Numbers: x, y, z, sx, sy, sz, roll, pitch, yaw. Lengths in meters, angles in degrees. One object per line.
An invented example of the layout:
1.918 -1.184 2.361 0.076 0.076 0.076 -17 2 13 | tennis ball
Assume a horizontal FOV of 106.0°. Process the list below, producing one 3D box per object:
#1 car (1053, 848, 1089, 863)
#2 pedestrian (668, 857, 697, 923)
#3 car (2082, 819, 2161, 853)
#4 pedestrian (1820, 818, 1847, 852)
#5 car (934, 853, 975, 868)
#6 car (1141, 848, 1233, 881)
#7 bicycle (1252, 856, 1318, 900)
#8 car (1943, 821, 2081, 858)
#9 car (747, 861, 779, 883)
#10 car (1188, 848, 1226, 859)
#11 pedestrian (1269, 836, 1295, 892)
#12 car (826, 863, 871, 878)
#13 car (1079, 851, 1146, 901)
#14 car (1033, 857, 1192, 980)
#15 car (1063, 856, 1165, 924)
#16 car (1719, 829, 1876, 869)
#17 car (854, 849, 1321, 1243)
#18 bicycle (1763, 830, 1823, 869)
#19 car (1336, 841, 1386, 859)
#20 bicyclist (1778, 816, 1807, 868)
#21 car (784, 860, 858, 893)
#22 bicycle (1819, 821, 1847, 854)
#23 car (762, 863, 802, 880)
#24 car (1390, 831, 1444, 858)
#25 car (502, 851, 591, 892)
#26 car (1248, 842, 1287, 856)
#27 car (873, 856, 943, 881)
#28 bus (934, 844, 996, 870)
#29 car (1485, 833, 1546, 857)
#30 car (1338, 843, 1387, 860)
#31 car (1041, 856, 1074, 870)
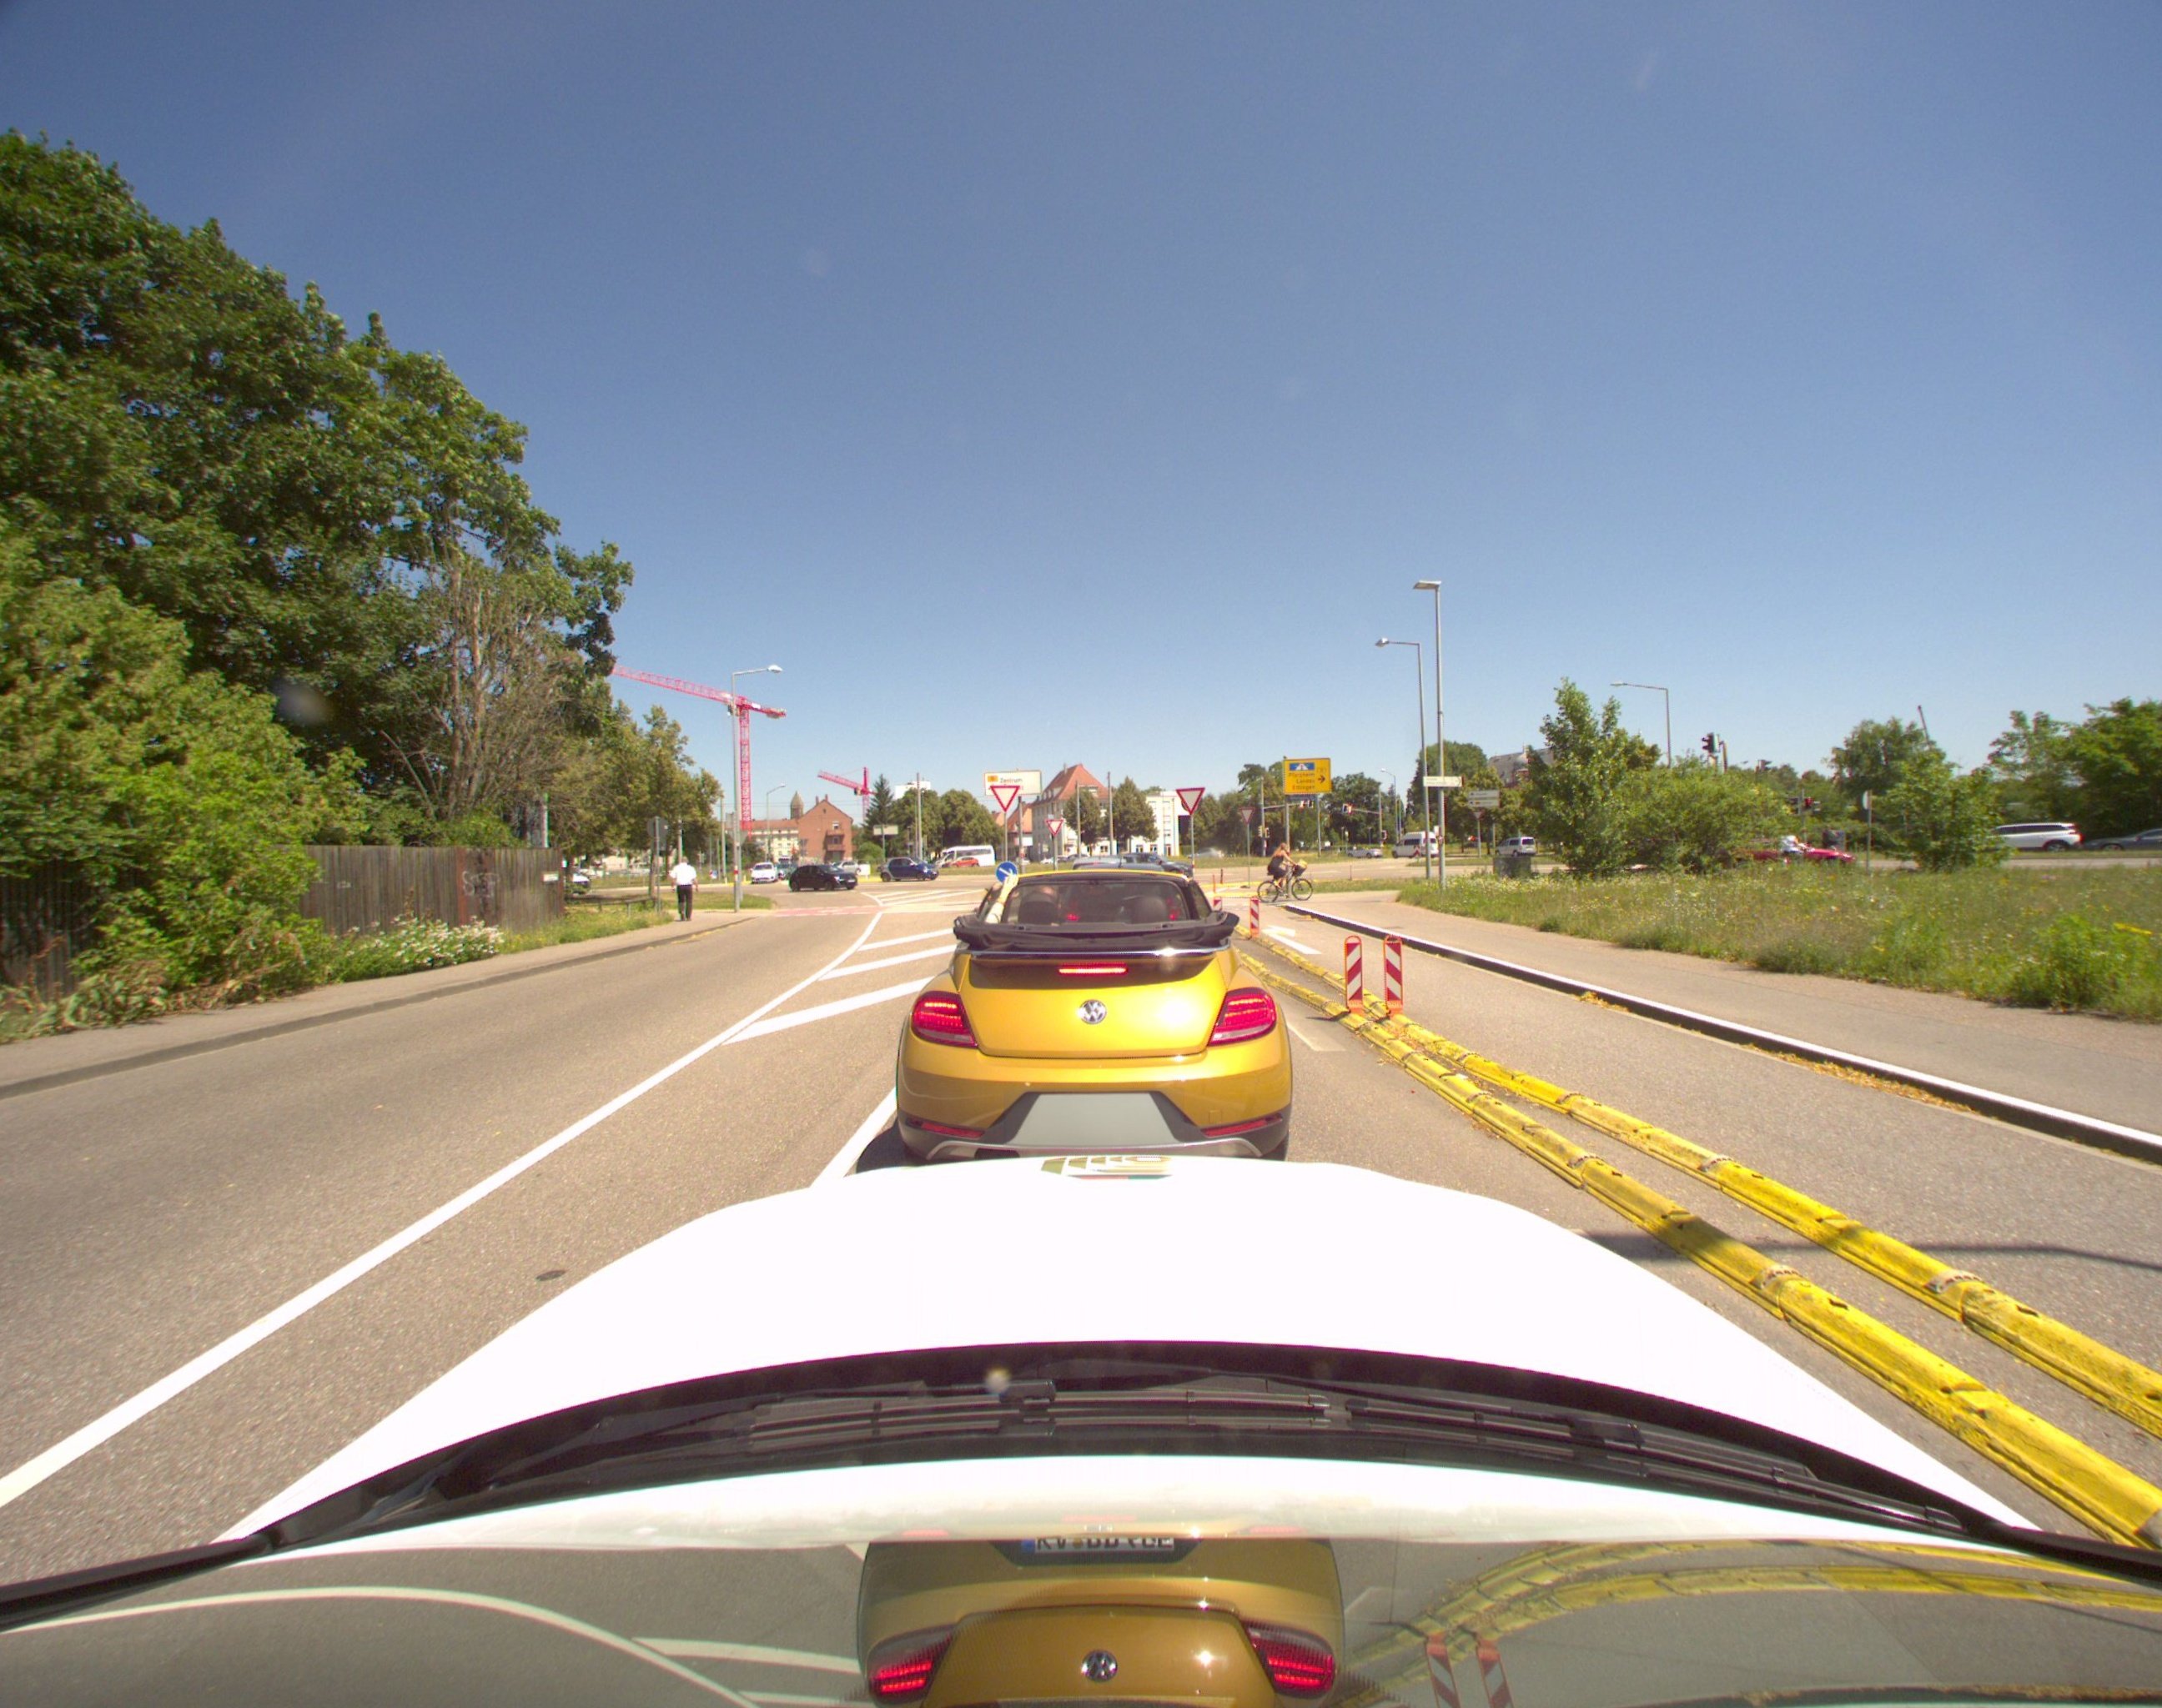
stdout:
-1.237 0.200 100.976 4.414 1.736 1.849 0 -1 1 | car
-11.165 0.984 22.841 0.638 1.786 0.962 0 -1 -20 | pedestrian
52.341 -0.867 39.600 4.389 1.592 1.860 -1 -1 43 | car
37.907 -0.938 41.039 0.959 1.660 0.892 -1 -1 44 | pedestrian
-14.801 0.764 95.460 4.456 1.736 1.831 0 -1 -29 | car
5.079 0.497 39.422 4.313 1.552 1.728 0 -1 1 | car
6.143 0.734 24.597 1.830 1.231 0.615 -3 -1 12 | bicycle
46.509 -0.672 40.841 4.389 1.736 1.860 -1 -1 43 | car
-24.221 1.330 62.156 1.779 1.527 3.852 -2 0 -15 | car
15.297 -0.040 99.021 4.276 1.371 1.763 -1 -1 27 | car
6.069 0.306 24.621 0.728 1.691 0.577 -1 -1 11 | pedestrian
-22.839 1.569 80.073 1.711 1.402 4.297 -1 -1 29 | car
1.056 0.676 27.739 2.057 1.481 4.545 -2 0 2 | car
0.439 0.774 11.798 1.844 1.366 4.260 -2 0 2 | car
0.745 0.746 18.713 2.057 1.382 4.259 0 -1 2 | car
28.562 -0.162 32.686 4.364 1.527 2.012 -1 -1 27 | car
0.086 0.745 5.213 1.758 1.481 4.259 0 -1 2 | car
25.919 -0.165 29.633 2.902 1.353 0.635 0 -1 -28 | bicycle
32.765 -0.455 95.412 2.004 1.962 5.267 0 -1 -39 | car
25.763 -0.421 29.502 0.573 1.841 0.603 0 -1 -29 | bicyclist
-13.931 1.181 43.594 3.948 1.551 1.739 -1 3 37 | car
38.006 -0.809 41.148 0.972 1.597 2.900 -1 -1 43 | bicycle
-25.365 1.498 69.198 1.740 1.371 4.332 0 -1 1 | car
31.471 -0.874 76.407 1.990 2.397 5.303 0 -1 -13 | car
-38.094 1.247 57.974 6.799 2.828 2.011 -1 -1 25 | car
22.728 -0.569 99.234 4.276 1.614 1.893 -1 -1 41 | car
-10.867 0.928 51.240 3.957 1.552 1.735 -1 -1 15 | car
-14.198 0.368 99.919 7.292 3.172 2.241 0 -1 -27 | bus
40.054 -0.782 75.253 1.990 2.070 5.303 0 -1 -13 | car
33.005 -0.294 95.525 2.003 1.962 5.269 0 -1 -36 | car
-3.036 1.154 104.506 3.995 1.772 1.777 0 -1 -16 | car
